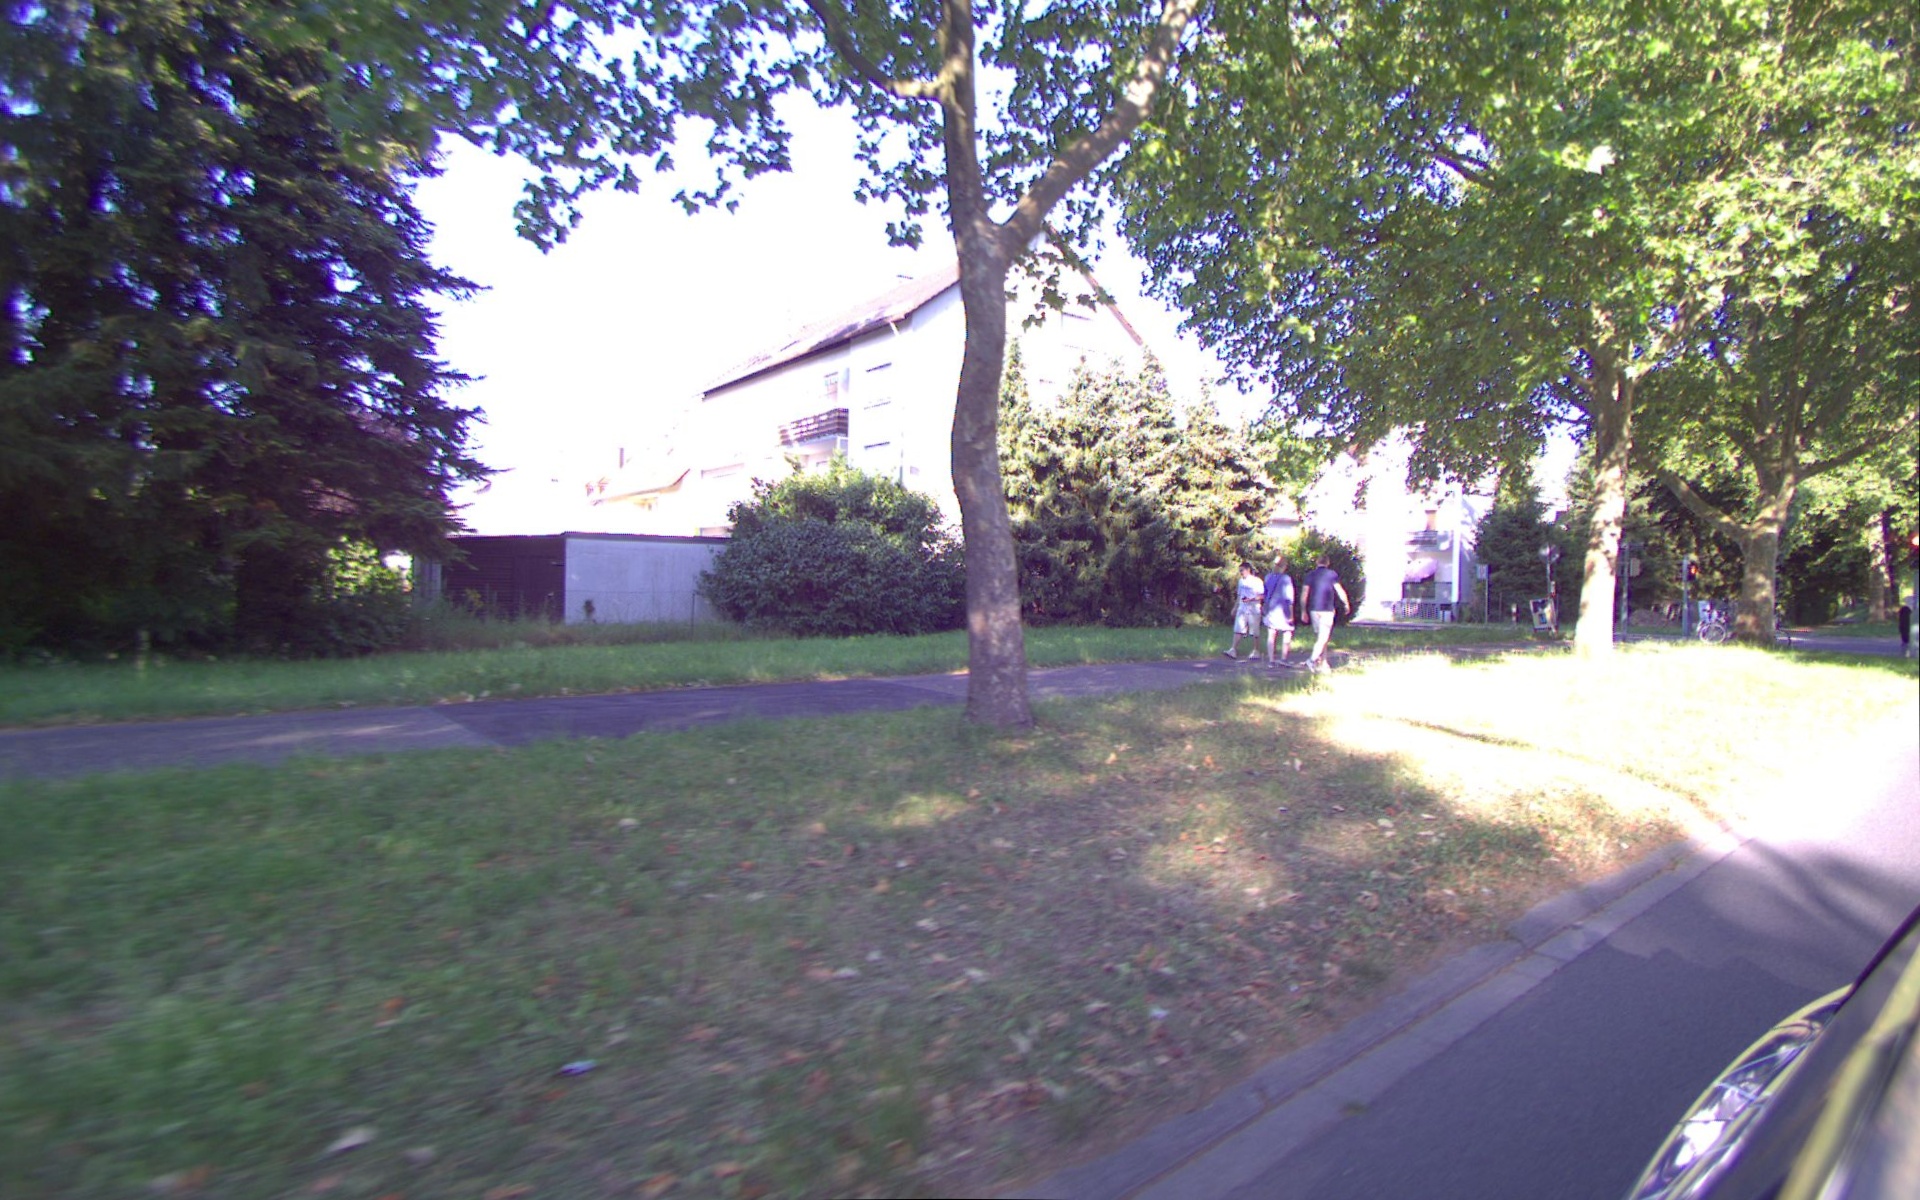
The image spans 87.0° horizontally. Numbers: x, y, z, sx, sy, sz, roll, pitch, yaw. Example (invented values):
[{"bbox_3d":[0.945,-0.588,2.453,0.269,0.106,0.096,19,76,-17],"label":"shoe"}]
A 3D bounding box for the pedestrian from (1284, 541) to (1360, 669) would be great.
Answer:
[{"bbox_3d":[5.501,0.064,15.380,0.773,1.869,0.763,1,1,-39],"label":"pedestrian"}]

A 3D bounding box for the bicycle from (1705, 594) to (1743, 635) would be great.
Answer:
[{"bbox_3d":[21.387,0.402,28.344,0.442,1.096,1.989,3,1,27],"label":"bicycle"}]

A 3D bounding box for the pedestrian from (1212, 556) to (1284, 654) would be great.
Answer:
[{"bbox_3d":[5.097,0.077,17.903,0.921,1.670,0.782,1,1,-34],"label":"pedestrian"}]

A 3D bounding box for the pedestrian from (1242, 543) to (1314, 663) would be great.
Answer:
[{"bbox_3d":[5.089,0.040,16.213,0.788,1.870,0.756,1,1,-39],"label":"pedestrian"}]

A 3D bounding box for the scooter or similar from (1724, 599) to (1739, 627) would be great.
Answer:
[{"bbox_3d":[33.177,0.553,43.517,1.234,1.211,0.382,1,-1,-45],"label":"scooter or similar"}]

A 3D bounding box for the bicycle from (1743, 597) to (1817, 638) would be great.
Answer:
[{"bbox_3d":[22.753,0.471,28.128,0.437,1.048,1.723,3,1,-7],"label":"bicycle"}]

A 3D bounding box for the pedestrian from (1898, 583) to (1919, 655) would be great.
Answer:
[{"bbox_3d":[23.602,0.465,24.883,0.634,1.740,0.814,4,2,40],"label":"pedestrian"}]
